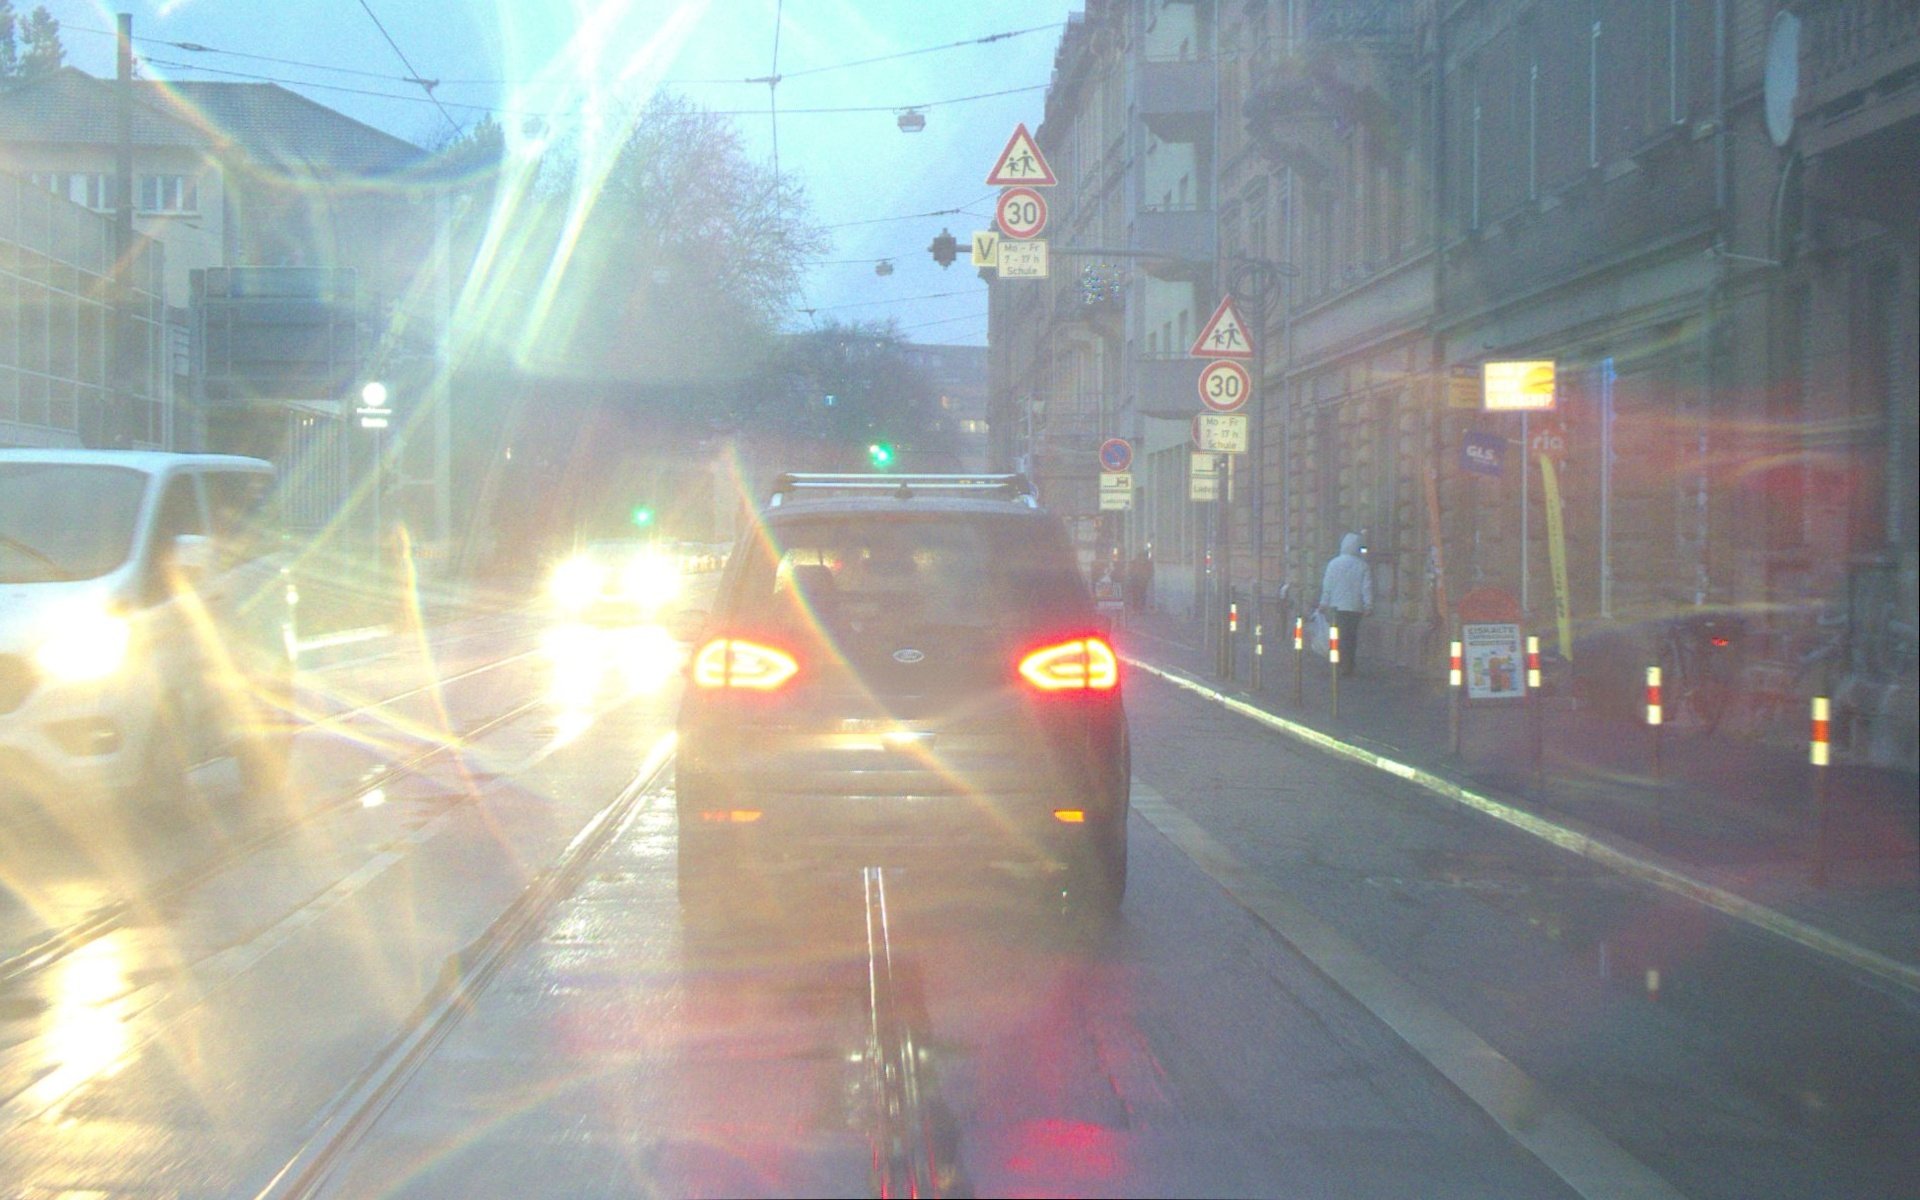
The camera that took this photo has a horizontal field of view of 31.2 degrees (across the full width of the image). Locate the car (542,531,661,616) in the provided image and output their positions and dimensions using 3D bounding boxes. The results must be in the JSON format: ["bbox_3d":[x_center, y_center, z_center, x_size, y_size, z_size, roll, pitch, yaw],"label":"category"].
[{"bbox_3d":[-6.828,-0.528,65.880,1.841,1.573,4.442,0,1,0],"label":"car"}]

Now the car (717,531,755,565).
[{"bbox_3d":[-11.632,-2.714,178.849,1.875,1.704,4.761,-1,1,-2],"label":"car"}]

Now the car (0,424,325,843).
[{"bbox_3d":[-4.916,0.131,18.870,1.993,2.007,4.685,1,0,0],"label":"car"}]

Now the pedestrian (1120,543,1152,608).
[{"bbox_3d":[3.773,-0.529,73.811,0.600,1.372,0.728,1,0,-2],"label":"pedestrian"}]

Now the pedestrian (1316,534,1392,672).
[{"bbox_3d":[4.569,0.028,39.912,0.786,1.592,0.742,0,1,-1],"label":"pedestrian"}]

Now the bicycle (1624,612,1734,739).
[{"bbox_3d":[5.555,0.570,26.631,0.397,0.908,1.867,0,1,-2],"label":"bicycle"}]

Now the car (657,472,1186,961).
[{"bbox_3d":[-0.113,0.410,15.019,1.993,1.835,4.000,0,1,1],"label":"car"}]
